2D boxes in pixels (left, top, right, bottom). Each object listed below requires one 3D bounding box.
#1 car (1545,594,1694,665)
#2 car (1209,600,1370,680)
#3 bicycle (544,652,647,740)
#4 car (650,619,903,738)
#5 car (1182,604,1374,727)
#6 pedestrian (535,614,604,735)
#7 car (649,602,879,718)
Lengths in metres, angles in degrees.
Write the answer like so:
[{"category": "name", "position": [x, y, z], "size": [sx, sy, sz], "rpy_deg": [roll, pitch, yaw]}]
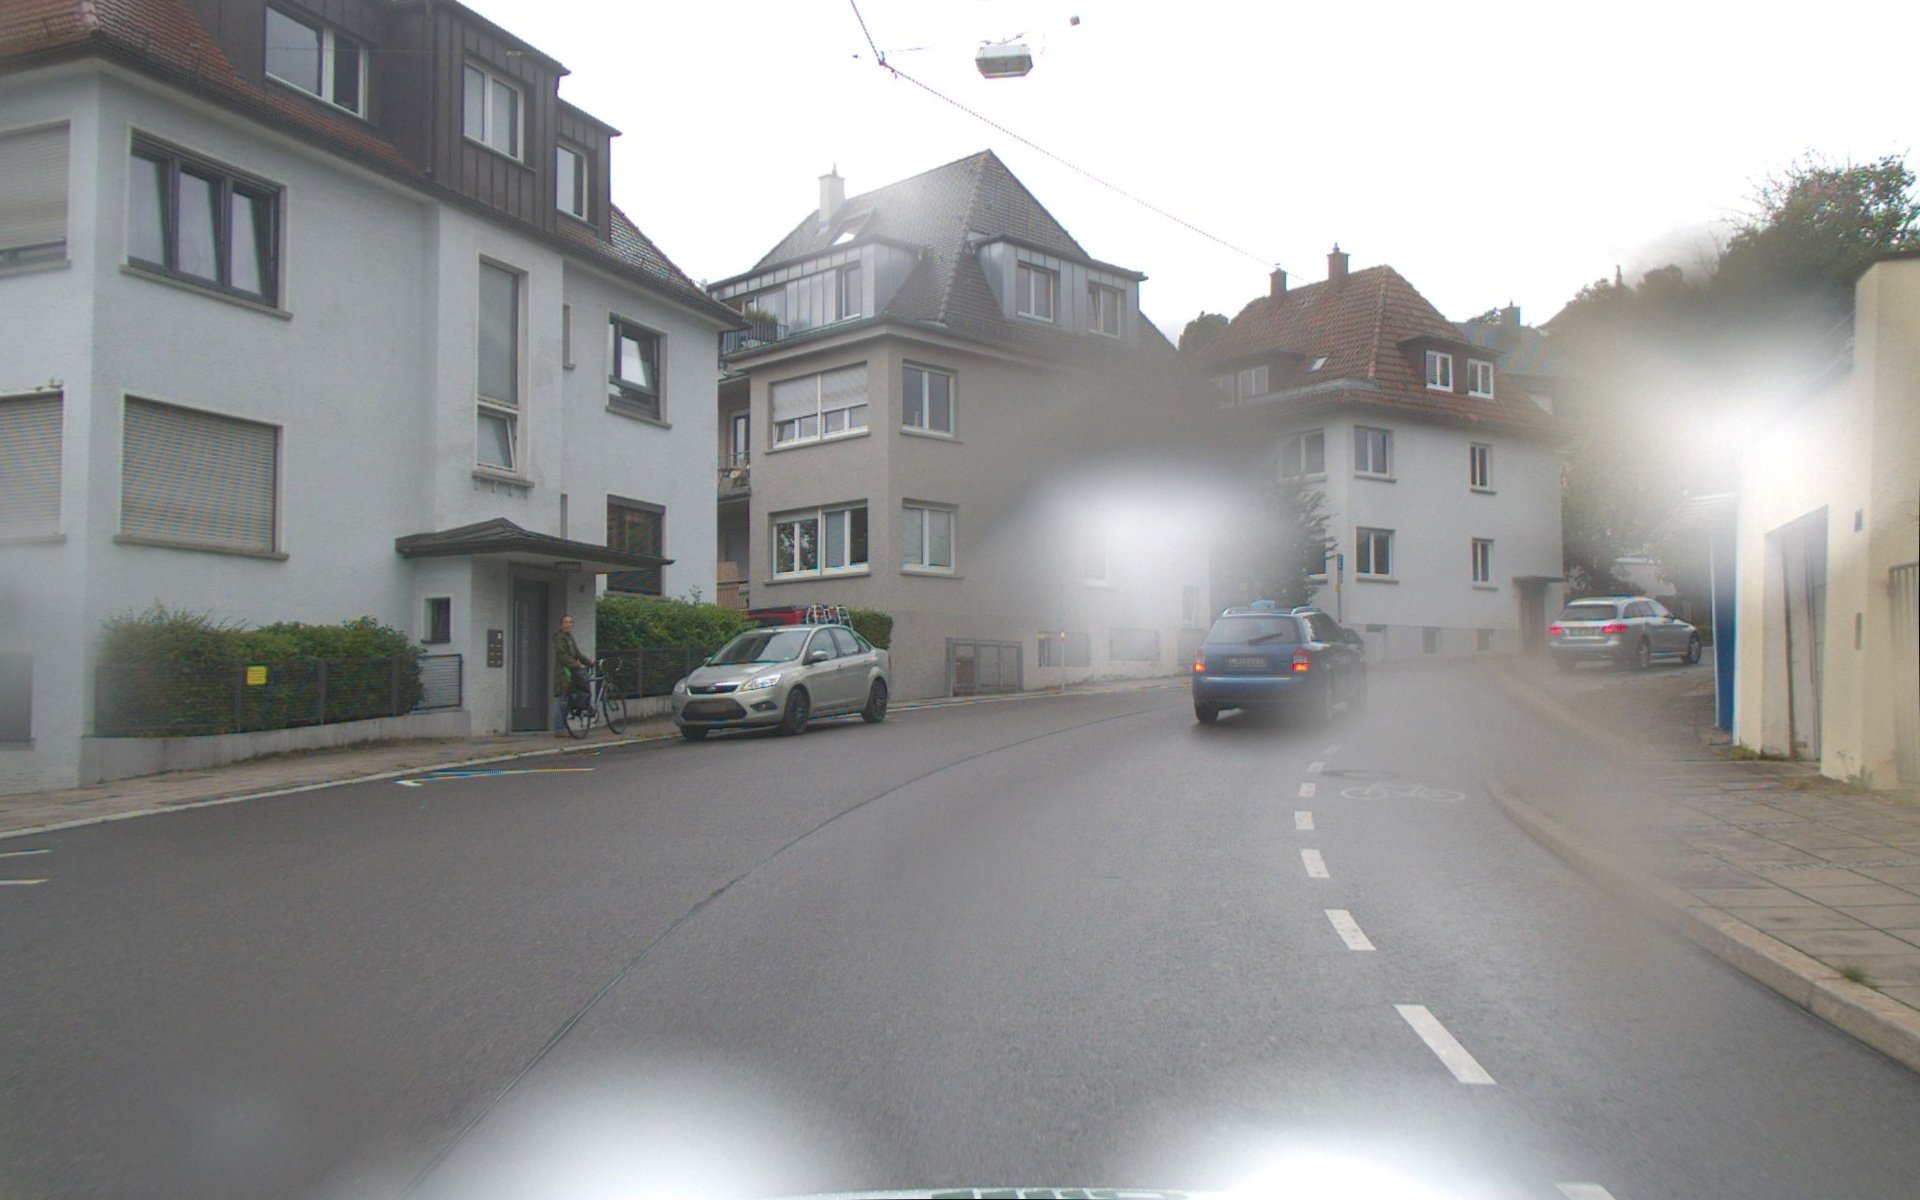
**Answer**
[{"category": "car", "position": [13.810, 0.593, 34.511], "size": [1.783, 1.384, 3.979], "rpy_deg": [0, -1, 39]}, {"category": "car", "position": [9.391, 1.168, 47.485], "size": [1.978, 1.651, 4.201], "rpy_deg": [-1, -9, -36]}, {"category": "bicycle", "position": [-4.922, 1.279, 22.468], "size": [0.446, 1.086, 1.922], "rpy_deg": [-1, 0, 18]}, {"category": "car", "position": [-2.484, 1.060, 23.517], "size": [1.798, 1.450, 4.230], "rpy_deg": [-3, -1, 21]}, {"category": "car", "position": [4.302, 0.786, 21.923], "size": [1.774, 1.464, 4.081], "rpy_deg": [0, 0, 22]}, {"category": "pedestrian", "position": [-5.347, 1.003, 22.662], "size": [0.482, 1.605, 0.948], "rpy_deg": [-1, 0, 17]}, {"category": "car", "position": [-3.842, 1.176, 32.402], "size": [3.911, 1.854, 1.998], "rpy_deg": [-7, -3, 27]}]
